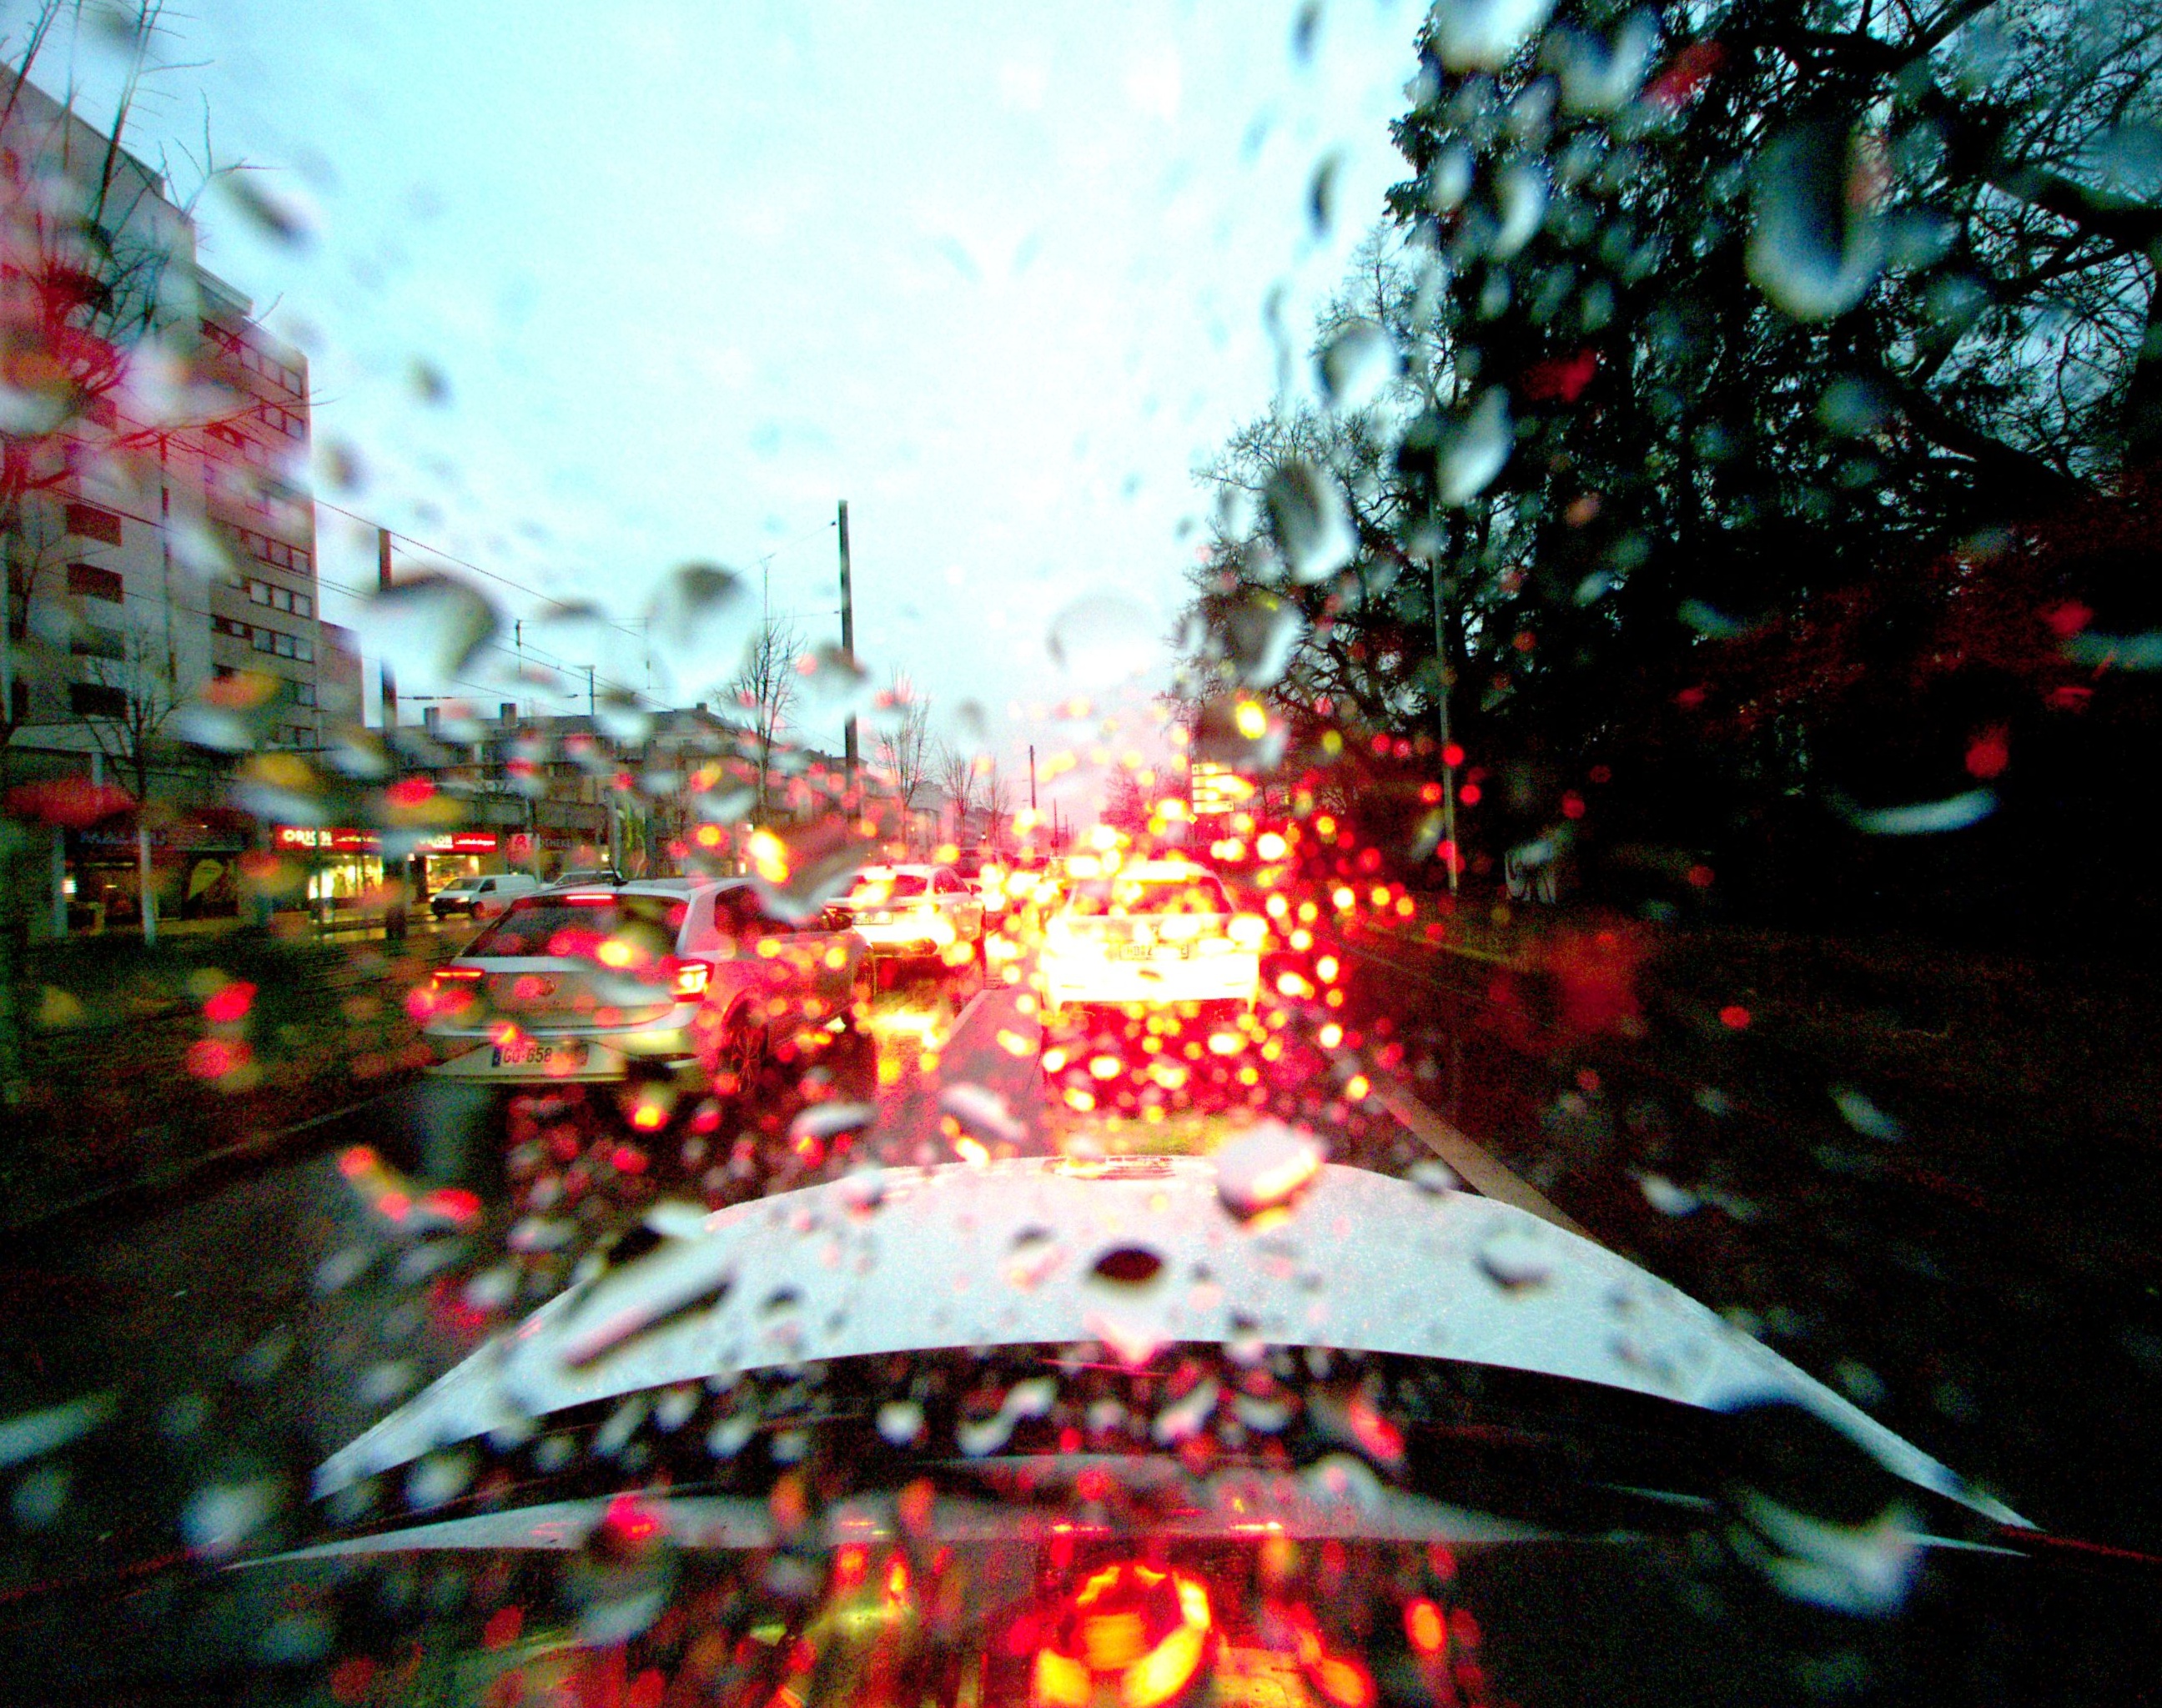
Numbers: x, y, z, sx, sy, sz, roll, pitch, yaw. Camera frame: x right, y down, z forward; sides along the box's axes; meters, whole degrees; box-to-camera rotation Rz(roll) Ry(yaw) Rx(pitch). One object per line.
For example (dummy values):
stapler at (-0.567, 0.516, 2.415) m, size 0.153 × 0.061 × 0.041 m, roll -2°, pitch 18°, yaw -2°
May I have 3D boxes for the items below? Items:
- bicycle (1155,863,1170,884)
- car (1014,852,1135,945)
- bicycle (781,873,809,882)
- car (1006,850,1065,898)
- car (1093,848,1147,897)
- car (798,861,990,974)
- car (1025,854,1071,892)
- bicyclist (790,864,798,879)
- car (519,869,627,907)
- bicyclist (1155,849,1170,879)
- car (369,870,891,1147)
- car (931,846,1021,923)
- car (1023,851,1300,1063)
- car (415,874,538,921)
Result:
bicycle at (3.964, 0.932, 39.625) m, size 0.642 × 0.966 × 2.049 m, roll -2°, pitch 0°, yaw 4°
car at (-0.035, 0.722, 15.244) m, size 1.928 × 1.457 × 4.165 m, roll -2°, pitch 0°, yaw 2°
bicycle at (-29.870, 2.463, 85.028) m, size 2.781 × 0.823 × 0.633 m, roll -1°, pitch -1°, yaw -23°
car at (-1.639, 0.702, 30.421) m, size 1.800 × 1.646 × 4.002 m, roll -1°, pitch 0°, yaw 2°
car at (1.404, 0.627, 29.903) m, size 1.800 × 1.646 × 4.002 m, roll -1°, pitch 0°, yaw 2°
car at (-2.642, 0.826, 12.690) m, size 1.840 × 1.405 × 4.614 m, roll -1°, pitch 0°, yaw 1°
car at (-1.486, 0.845, 37.814) m, size 1.800 × 1.646 × 4.002 m, roll -1°, pitch 0°, yaw 2°
bicyclist at (-29.940, 1.845, 85.004) m, size 0.791 × 1.579 × 0.633 m, roll -1°, pitch -1°, yaw -23°
car at (-30.729, 2.024, 49.369) m, size 5.193 × 1.912 × 1.975 m, roll -3°, pitch 0°, yaw -44°
bicyclist at (3.943, 0.480, 39.647) m, size 0.642 × 1.389 × 0.891 m, roll -2°, pitch 0°, yaw 4°
car at (-2.846, 0.857, 6.294) m, size 1.756 × 1.371 × 3.981 m, roll -1°, pitch 0°, yaw 1°
car at (-2.584, 0.712, 21.039) m, size 1.788 × 1.736 × 4.535 m, roll -1°, pitch 0°, yaw -1°
car at (0.656, 0.754, 8.050) m, size 1.992 × 1.508 × 4.165 m, roll -2°, pitch 0°, yaw 2°
car at (-29.681, 2.080, 40.244) m, size 1.985 × 1.912 × 5.168 m, roll -3°, pitch 0°, yaw 3°
